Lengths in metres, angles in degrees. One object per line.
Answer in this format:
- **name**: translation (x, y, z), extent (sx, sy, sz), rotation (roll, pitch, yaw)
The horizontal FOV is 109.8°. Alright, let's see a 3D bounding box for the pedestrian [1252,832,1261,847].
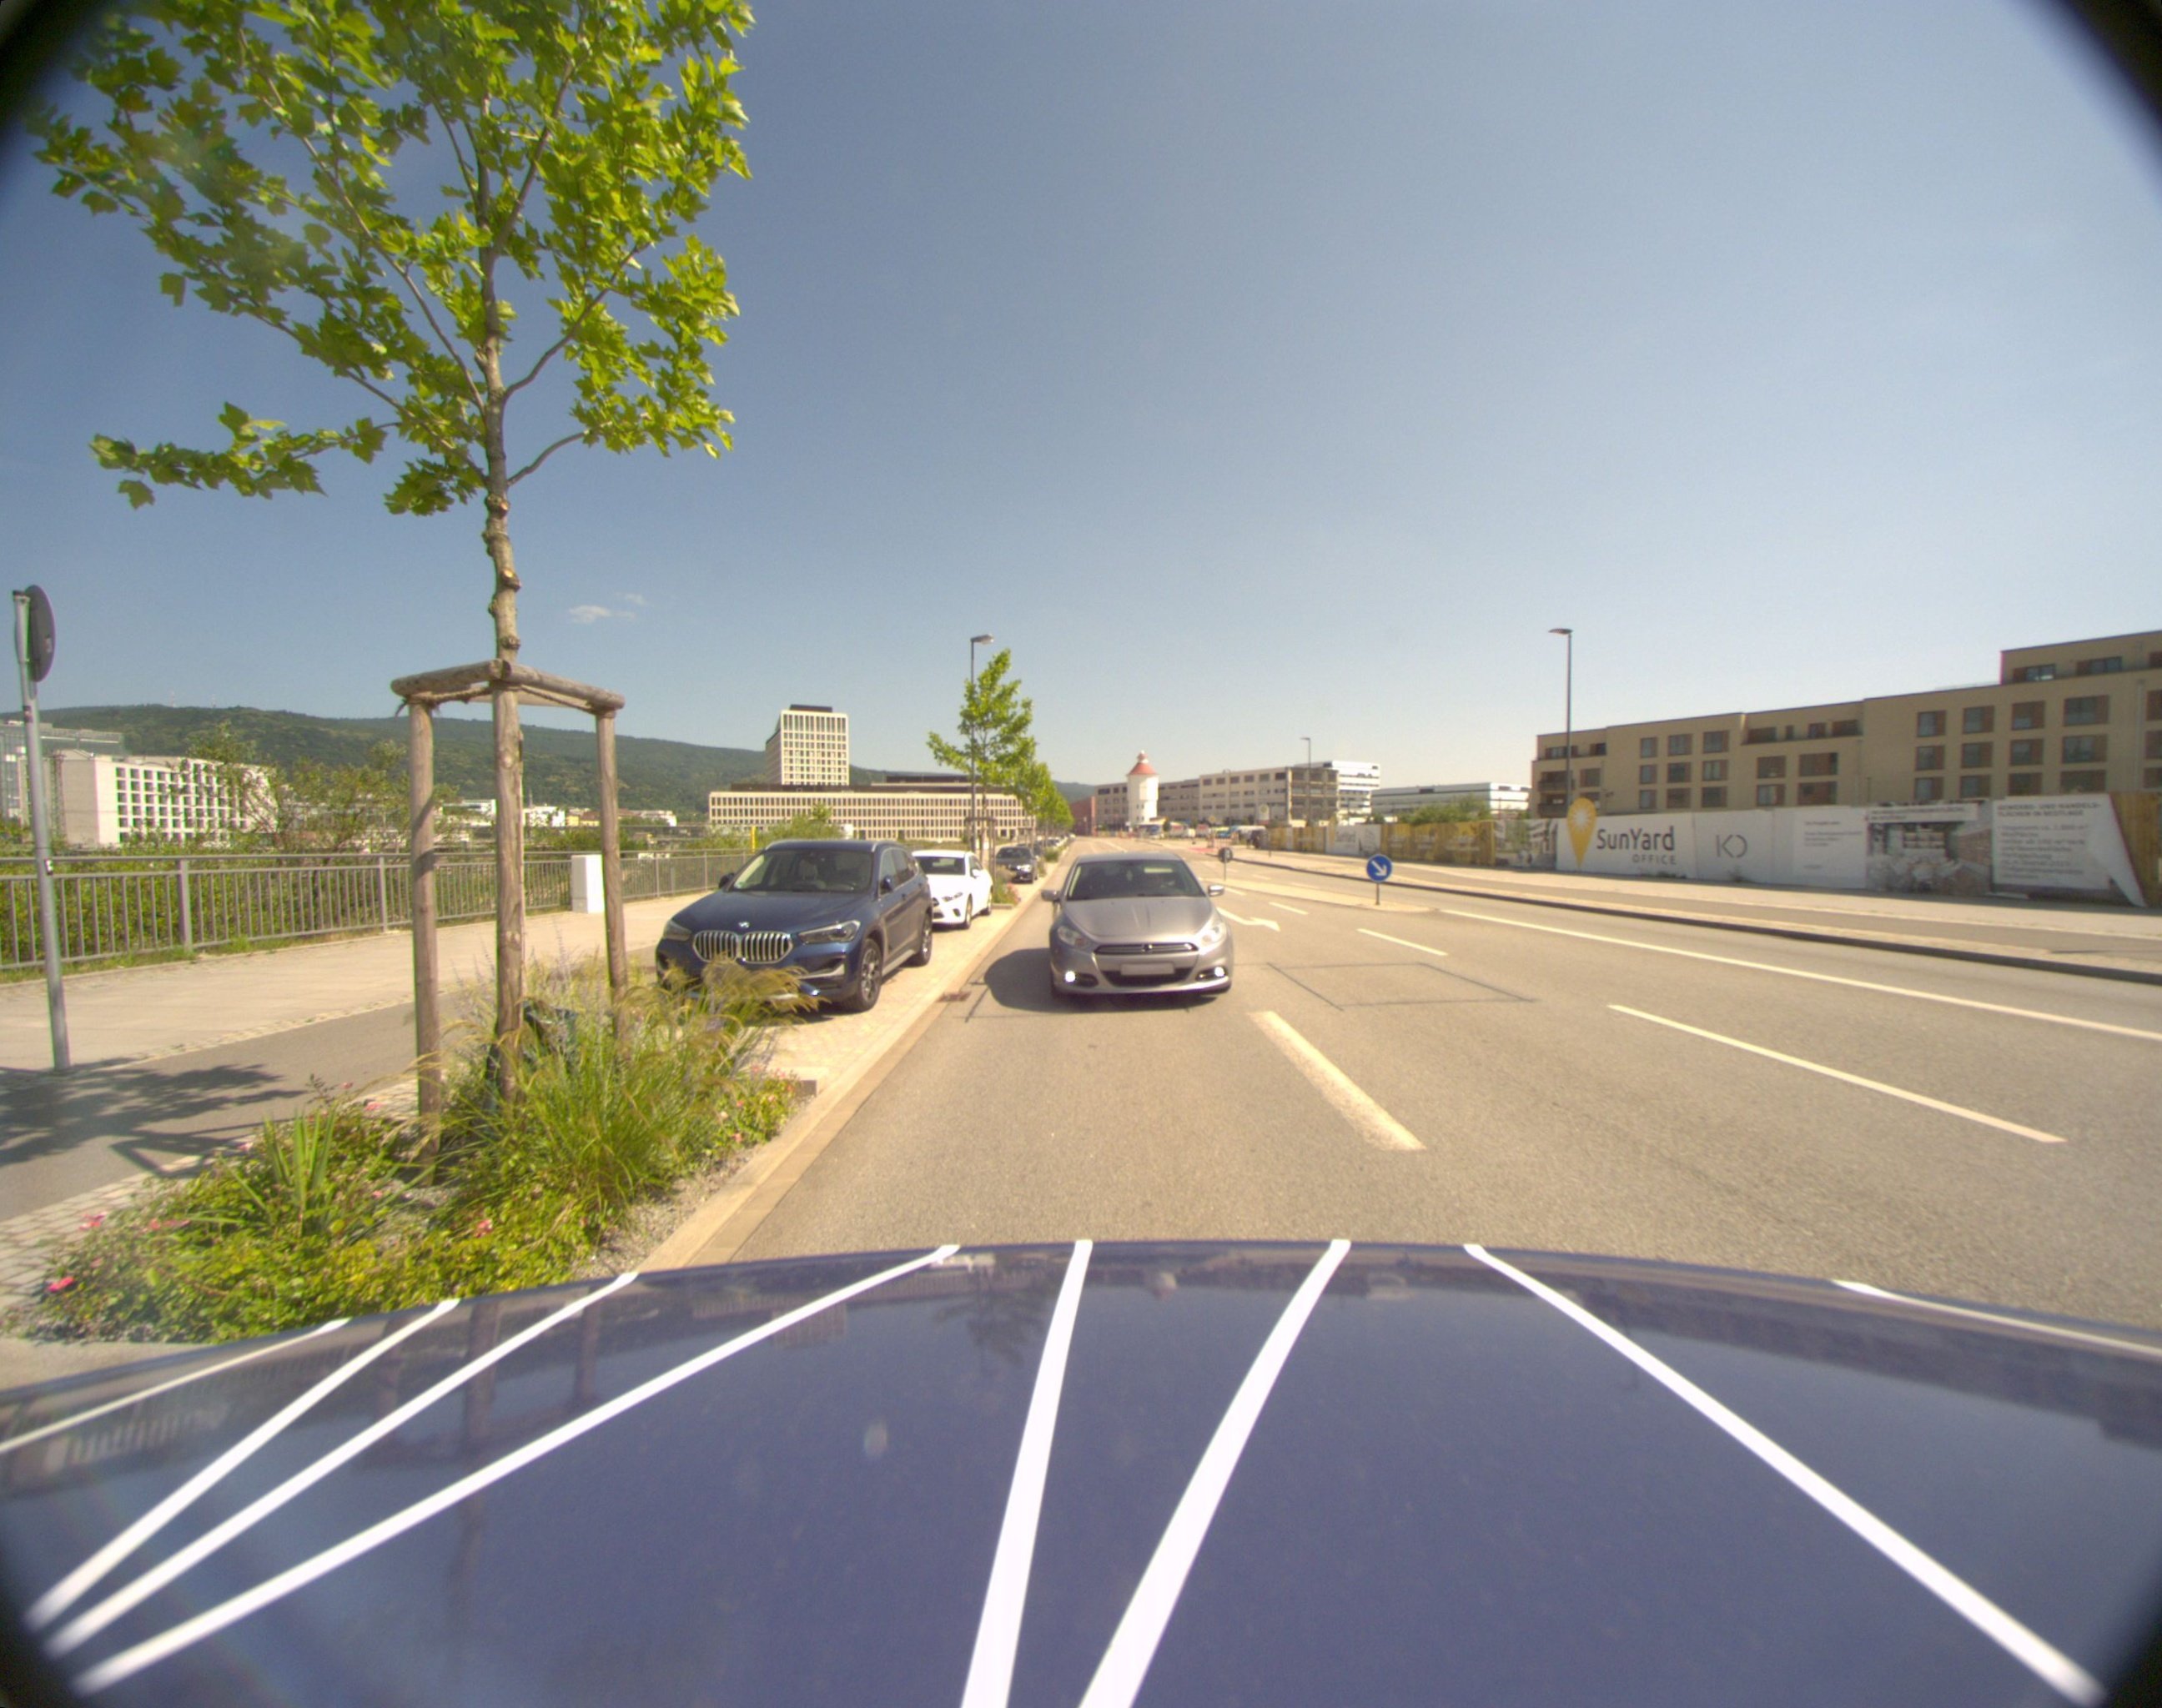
- **pedestrian**: translation (18.545, -1.518, 80.298), extent (0.705, 1.577, 0.617), rotation (-3, 2, -35)

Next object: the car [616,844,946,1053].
- **car**: translation (-2.802, 0.744, 8.265), extent (1.769, 1.598, 4.237), rotation (-2, 1, 1)

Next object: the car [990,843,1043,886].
- **car**: translation (-2.549, 0.363, 30.845), extent (1.664, 1.530, 3.999), rotation (-2, 1, 1)

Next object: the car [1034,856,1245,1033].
- **car**: translation (0.543, 0.793, 8.646), extent (1.784, 1.372, 4.135), rotation (-2, 1, 1)

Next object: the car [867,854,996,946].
- **car**: translation (-2.806, 0.795, 15.136), extent (1.664, 1.447, 3.999), rotation (-2, 1, 1)
